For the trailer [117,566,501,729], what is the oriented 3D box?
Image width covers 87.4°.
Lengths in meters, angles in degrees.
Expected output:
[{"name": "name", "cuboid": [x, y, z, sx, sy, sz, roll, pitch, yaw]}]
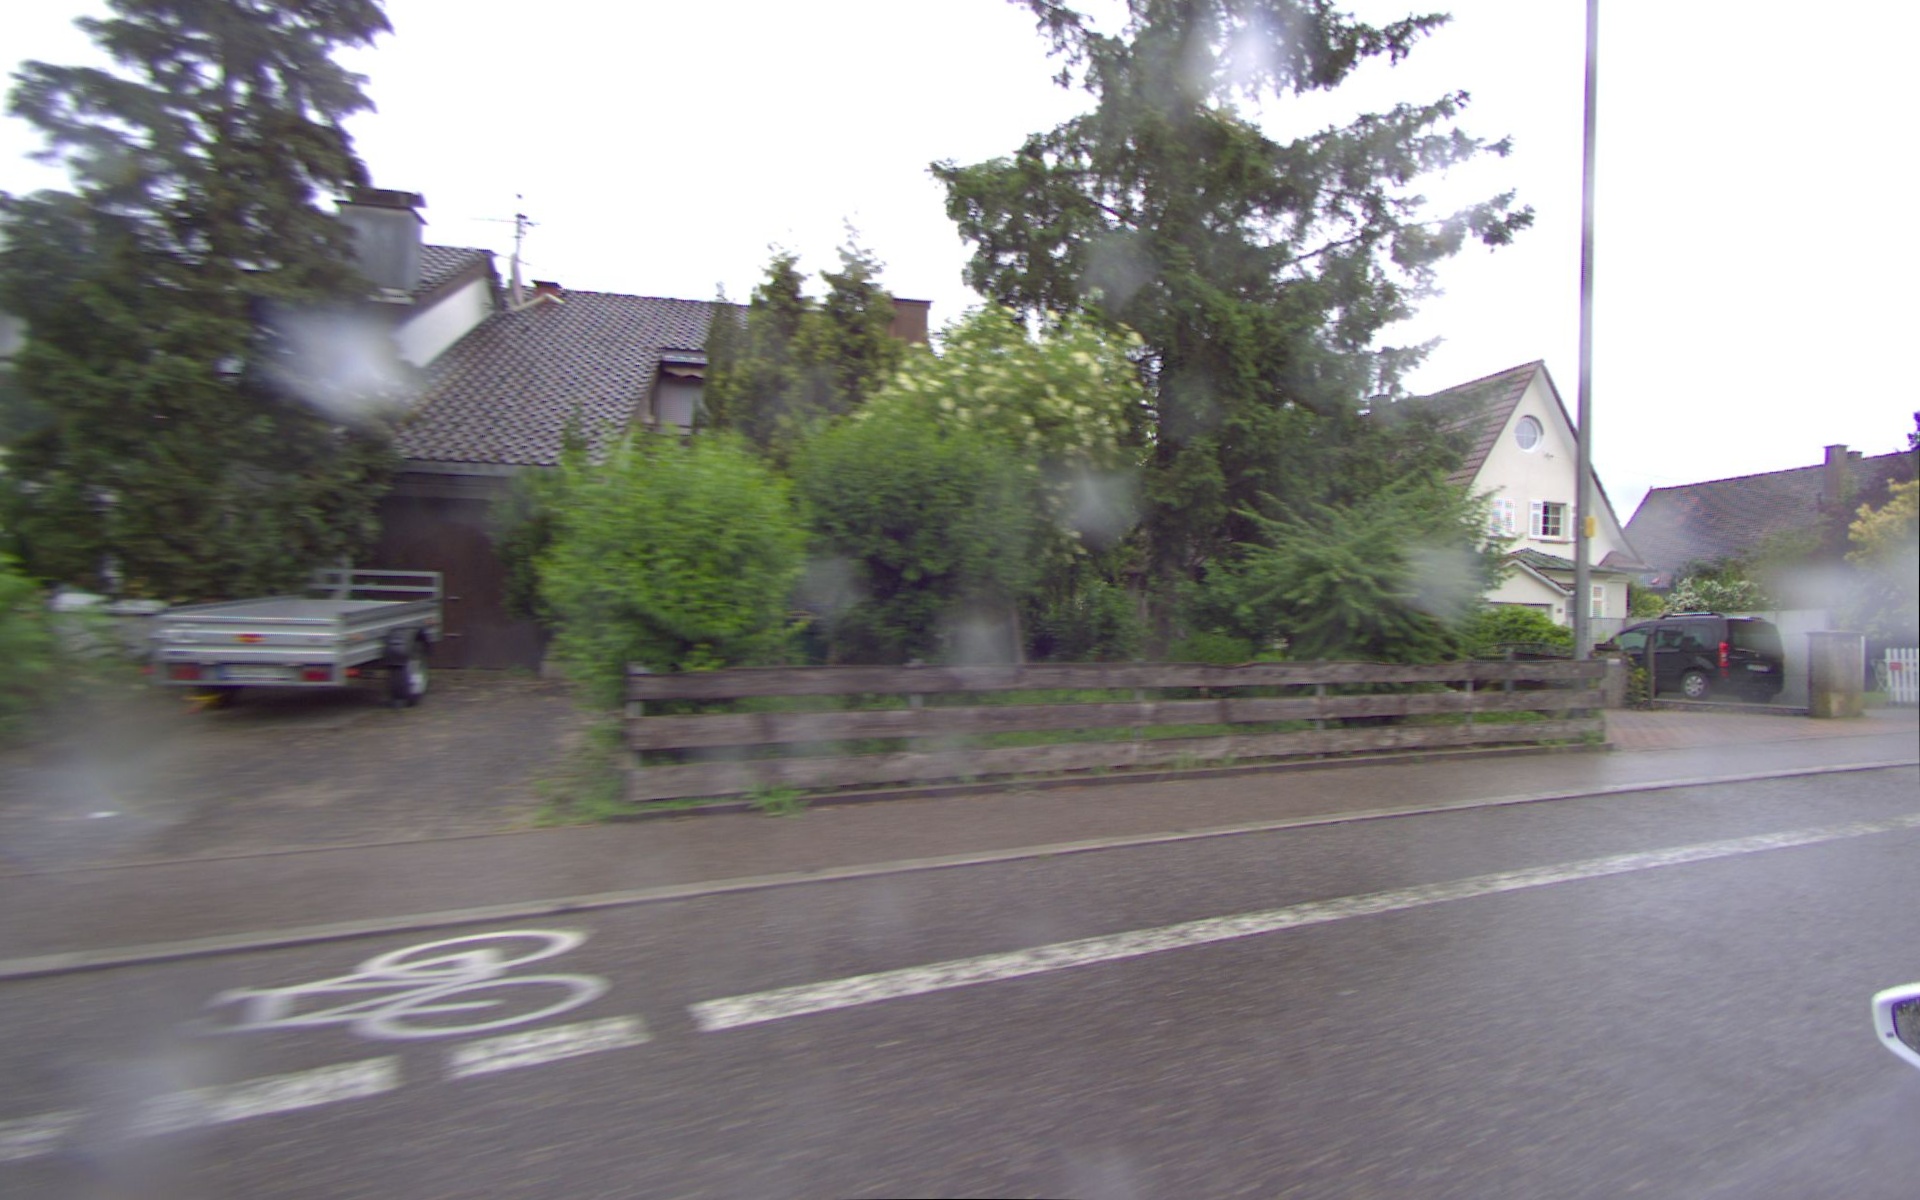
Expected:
[{"name": "trailer", "cuboid": [-5.903, 0.319, 9.701, 1.893, 1.223, 3.687, 1, 2, -12]}]

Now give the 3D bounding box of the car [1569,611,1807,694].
[{"name": "car", "cuboid": [16.039, 1.107, 22.419, 1.966, 1.641, 3.990, 1, 0, -13]}]
